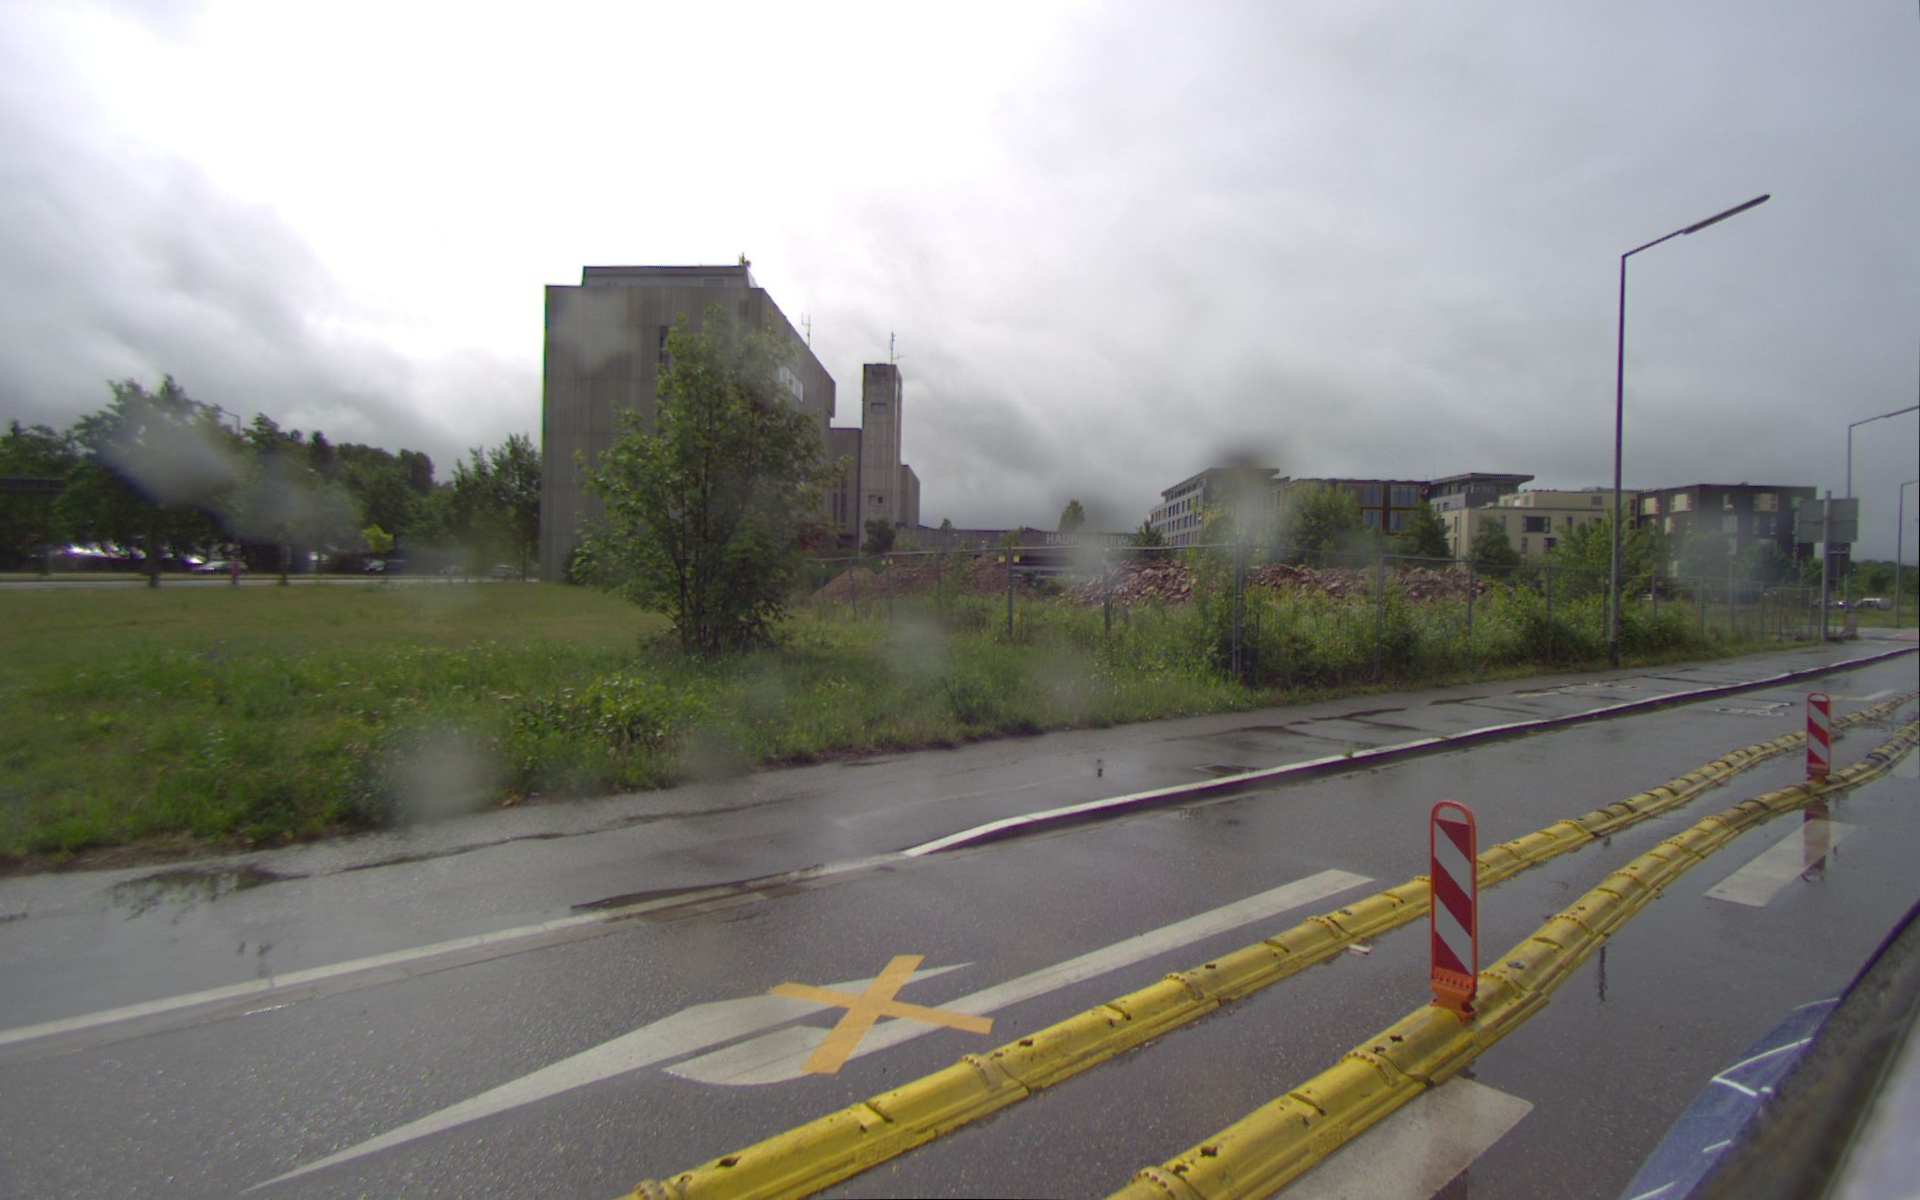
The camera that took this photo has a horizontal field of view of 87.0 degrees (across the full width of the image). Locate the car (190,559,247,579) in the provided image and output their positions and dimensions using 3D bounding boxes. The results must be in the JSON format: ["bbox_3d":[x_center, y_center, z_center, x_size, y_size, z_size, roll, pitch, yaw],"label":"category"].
[{"bbox_3d":[-62.010,-2.595,84.725,1.515,1.578,4.233,1,1,3],"label":"car"}]

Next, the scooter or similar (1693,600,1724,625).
[{"bbox_3d":[36.229,0.613,48.987,0.473,1.164,1.197,1,1,-7],"label":"scooter or similar"}]

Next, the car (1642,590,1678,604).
[{"bbox_3d":[85.551,-0.355,123.685,3.591,1.603,1.652,1,1,-17],"label":"car"}]
